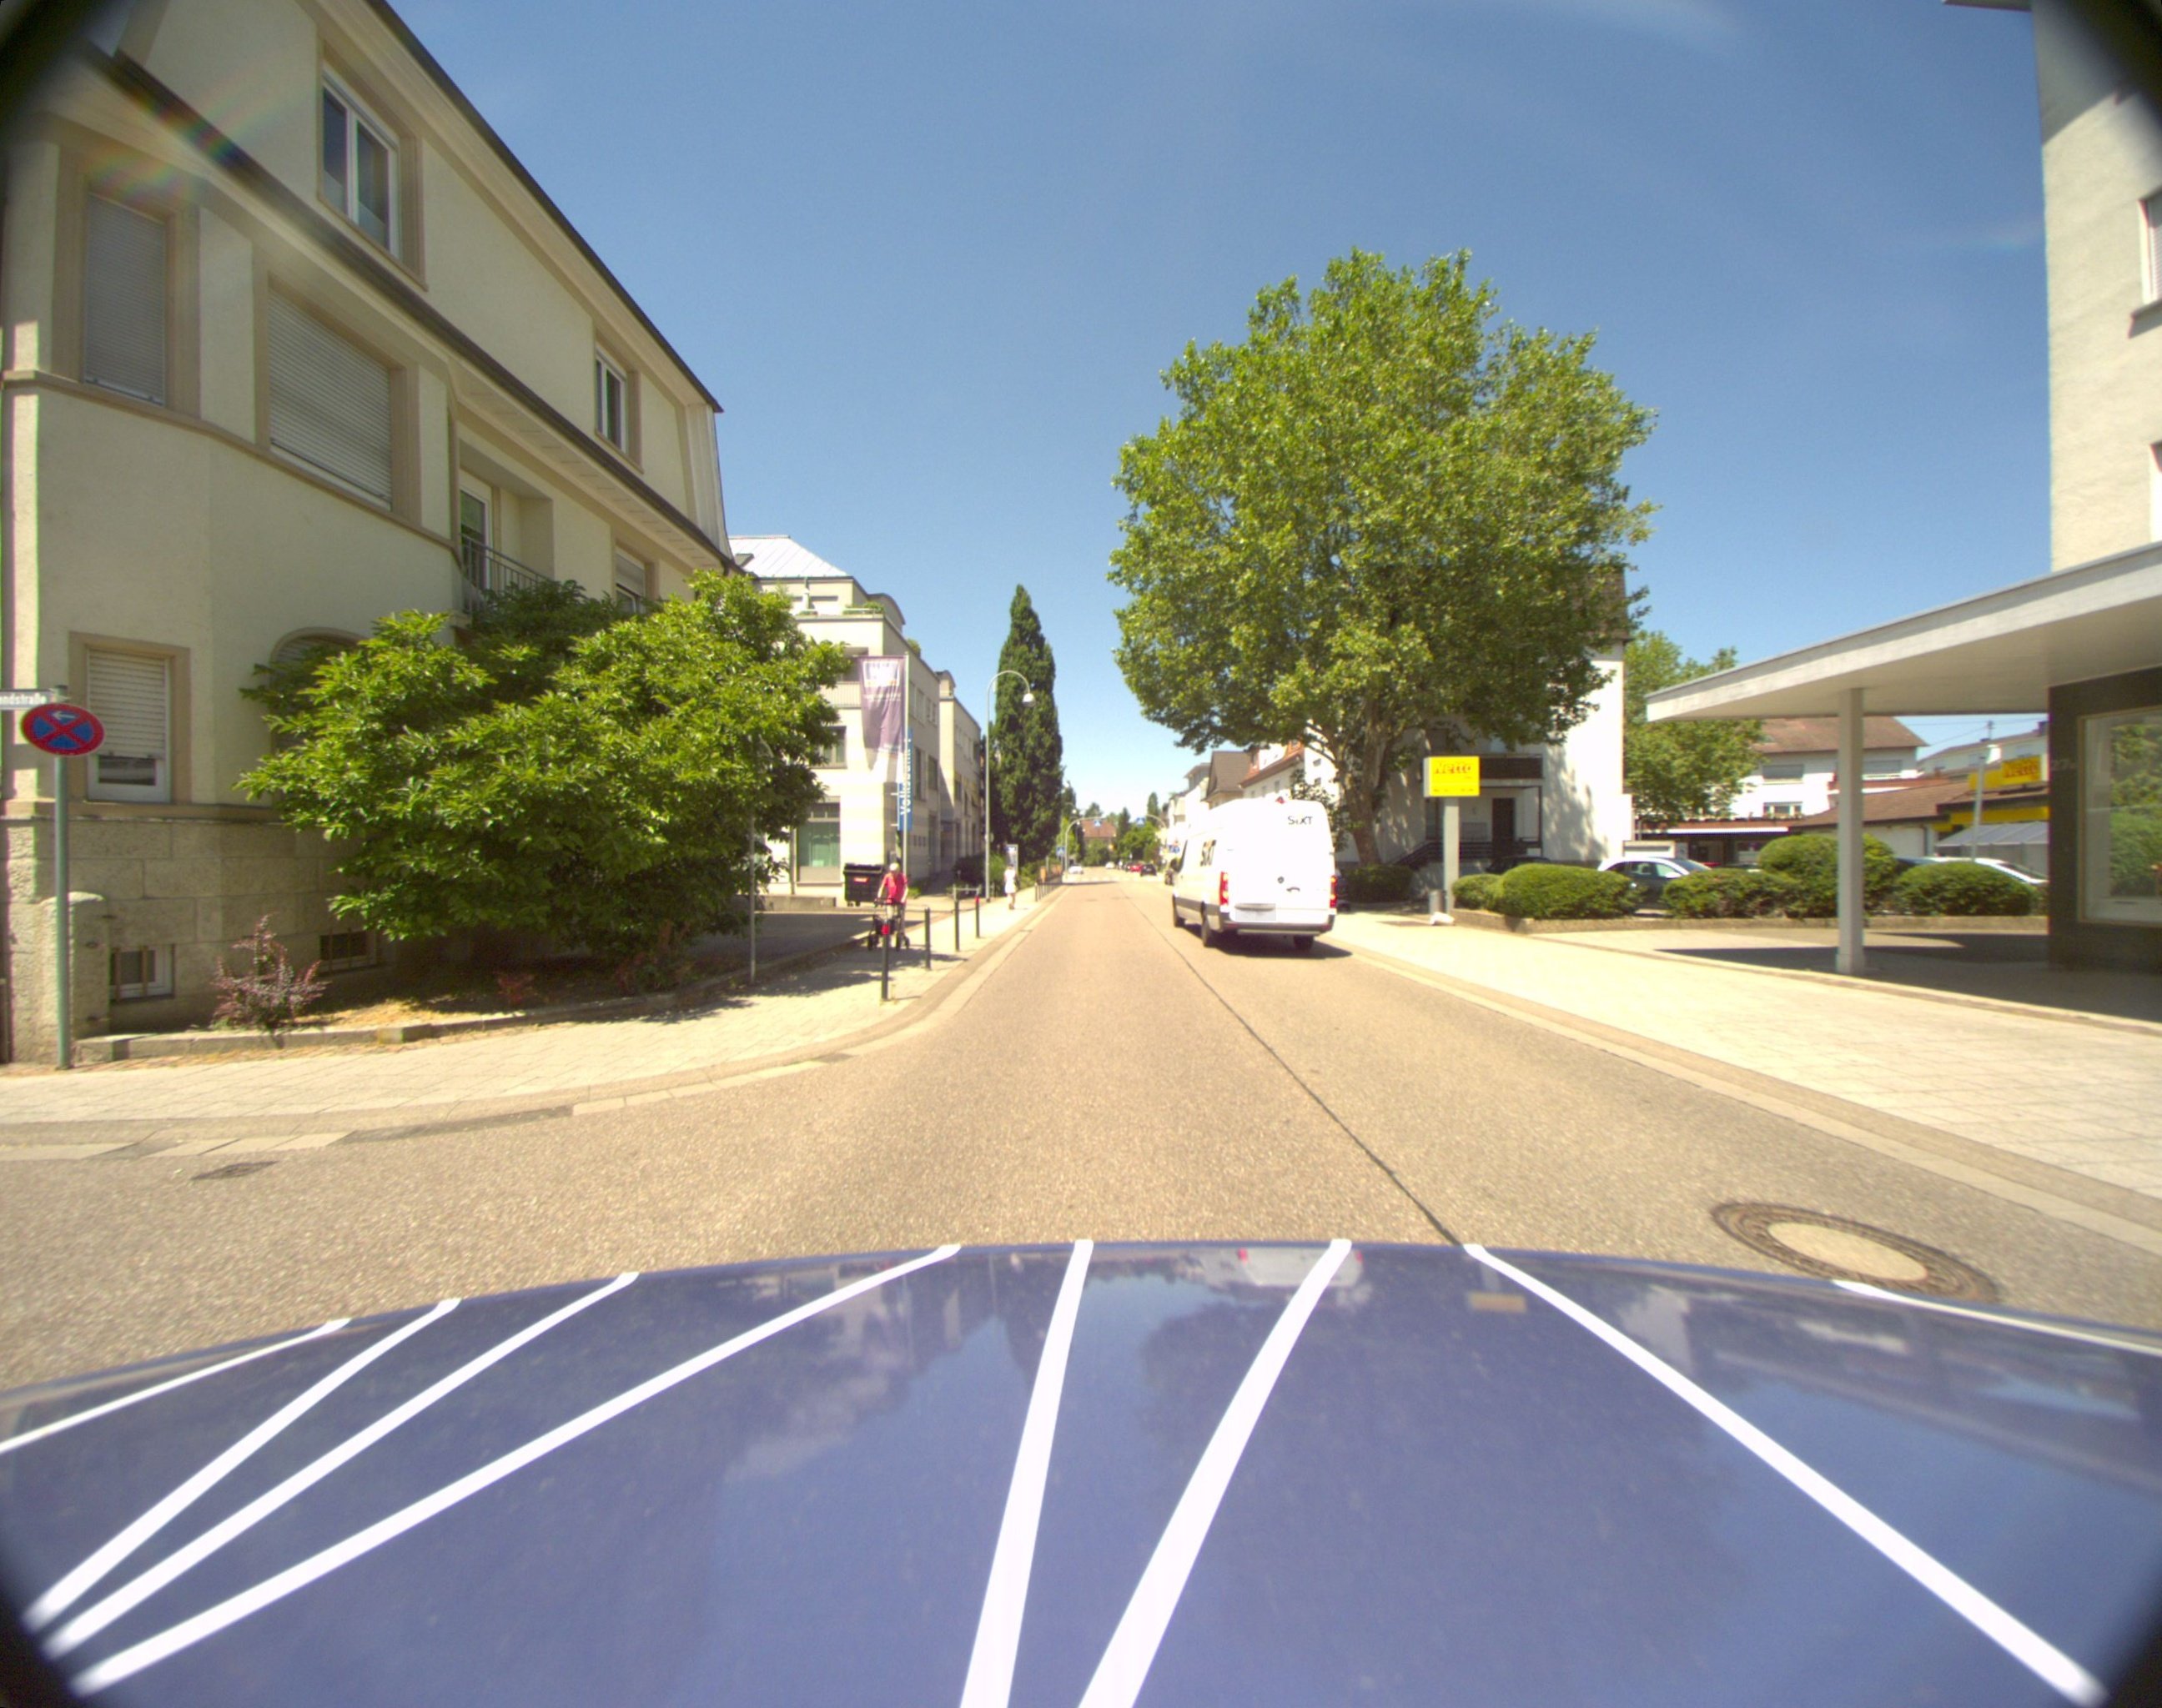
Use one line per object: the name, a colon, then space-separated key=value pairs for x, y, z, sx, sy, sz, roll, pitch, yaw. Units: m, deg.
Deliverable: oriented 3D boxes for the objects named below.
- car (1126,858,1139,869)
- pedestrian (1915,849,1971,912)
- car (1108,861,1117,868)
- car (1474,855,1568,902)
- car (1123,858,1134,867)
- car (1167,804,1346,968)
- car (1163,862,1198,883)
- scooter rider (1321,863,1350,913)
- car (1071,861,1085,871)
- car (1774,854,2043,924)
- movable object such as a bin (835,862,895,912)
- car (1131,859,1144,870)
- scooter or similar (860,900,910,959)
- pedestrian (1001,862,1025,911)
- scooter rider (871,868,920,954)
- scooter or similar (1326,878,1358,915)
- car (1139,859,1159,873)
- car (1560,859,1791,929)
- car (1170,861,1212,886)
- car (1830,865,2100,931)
car: x=8.589 y=1.564 z=126.560 sx=1.925 sy=1.576 sz=4.436 roll=-3 pitch=0 yaw=2
pedestrian: x=22.604 y=0.687 z=19.932 sx=0.686 sy=1.617 sz=0.717 roll=-1 pitch=0 yaw=-15
car: x=6.927 y=2.236 z=166.162 sx=1.812 sy=1.473 sz=3.869 roll=1 pitch=0 yaw=0
car: x=15.364 y=0.803 z=26.779 sx=1.809 sy=1.536 sz=4.110 roll=0 pitch=0 yaw=14
car: x=9.210 y=1.633 z=146.463 sx=1.925 sy=1.681 sz=4.288 roll=-3 pitch=0 yaw=3
car: x=3.247 y=0.546 z=15.845 sx=2.041 sy=2.614 sz=7.107 roll=1 pitch=0 yaw=0
car: x=7.027 y=1.295 z=54.006 sx=1.947 sy=1.365 sz=5.099 roll=-1 pitch=0 yaw=2
scooter rider: x=8.242 y=1.101 z=24.626 sx=0.590 sy=1.566 sz=0.877 roll=-3 pitch=0 yaw=3
car: x=-0.445 y=1.684 z=107.989 sx=1.920 sy=1.460 sz=4.881 roll=0 pitch=0 yaw=1
car: x=19.264 y=0.756 z=17.949 sx=1.752 sy=1.454 sz=3.924 roll=1 pitch=-1 yaw=-16
movable object such as a bin: x=-6.811 y=1.026 z=24.051 sx=1.371 sy=1.450 sz=1.381 roll=2 pitch=0 yaw=3
car: x=8.564 y=1.574 z=115.260 sx=1.737 sy=1.443 sz=4.260 roll=-3 pitch=0 yaw=2
scooter or similar: x=-3.432 y=1.318 z=13.359 sx=0.665 sy=0.957 sz=0.754 roll=1 pitch=0 yaw=1
pedestrian: x=-2.335 y=1.097 z=26.077 sx=0.702 sy=1.617 sz=0.783 roll=2 pitch=1 yaw=0
scooter rider: x=-3.417 y=1.036 z=14.039 sx=0.718 sy=1.539 sz=0.770 roll=0 pitch=0 yaw=-1
scooter or similar: x=8.227 y=1.334 z=23.970 sx=0.665 sy=1.092 sz=1.028 roll=-3 pitch=0 yaw=3
car: x=7.824 y=1.412 z=87.737 sx=1.921 sy=1.443 sz=5.150 roll=-3 pitch=0 yaw=2
car: x=14.263 y=0.882 z=18.474 sx=1.900 sy=1.478 sz=3.987 roll=0 pitch=0 yaw=-29
car: x=6.849 y=1.204 z=47.938 sx=1.986 sy=1.443 sz=5.358 roll=-2 pitch=0 yaw=2
car: x=21.625 y=1.000 z=18.808 sx=1.778 sy=1.425 sz=4.028 roll=1 pitch=-1 yaw=-25
